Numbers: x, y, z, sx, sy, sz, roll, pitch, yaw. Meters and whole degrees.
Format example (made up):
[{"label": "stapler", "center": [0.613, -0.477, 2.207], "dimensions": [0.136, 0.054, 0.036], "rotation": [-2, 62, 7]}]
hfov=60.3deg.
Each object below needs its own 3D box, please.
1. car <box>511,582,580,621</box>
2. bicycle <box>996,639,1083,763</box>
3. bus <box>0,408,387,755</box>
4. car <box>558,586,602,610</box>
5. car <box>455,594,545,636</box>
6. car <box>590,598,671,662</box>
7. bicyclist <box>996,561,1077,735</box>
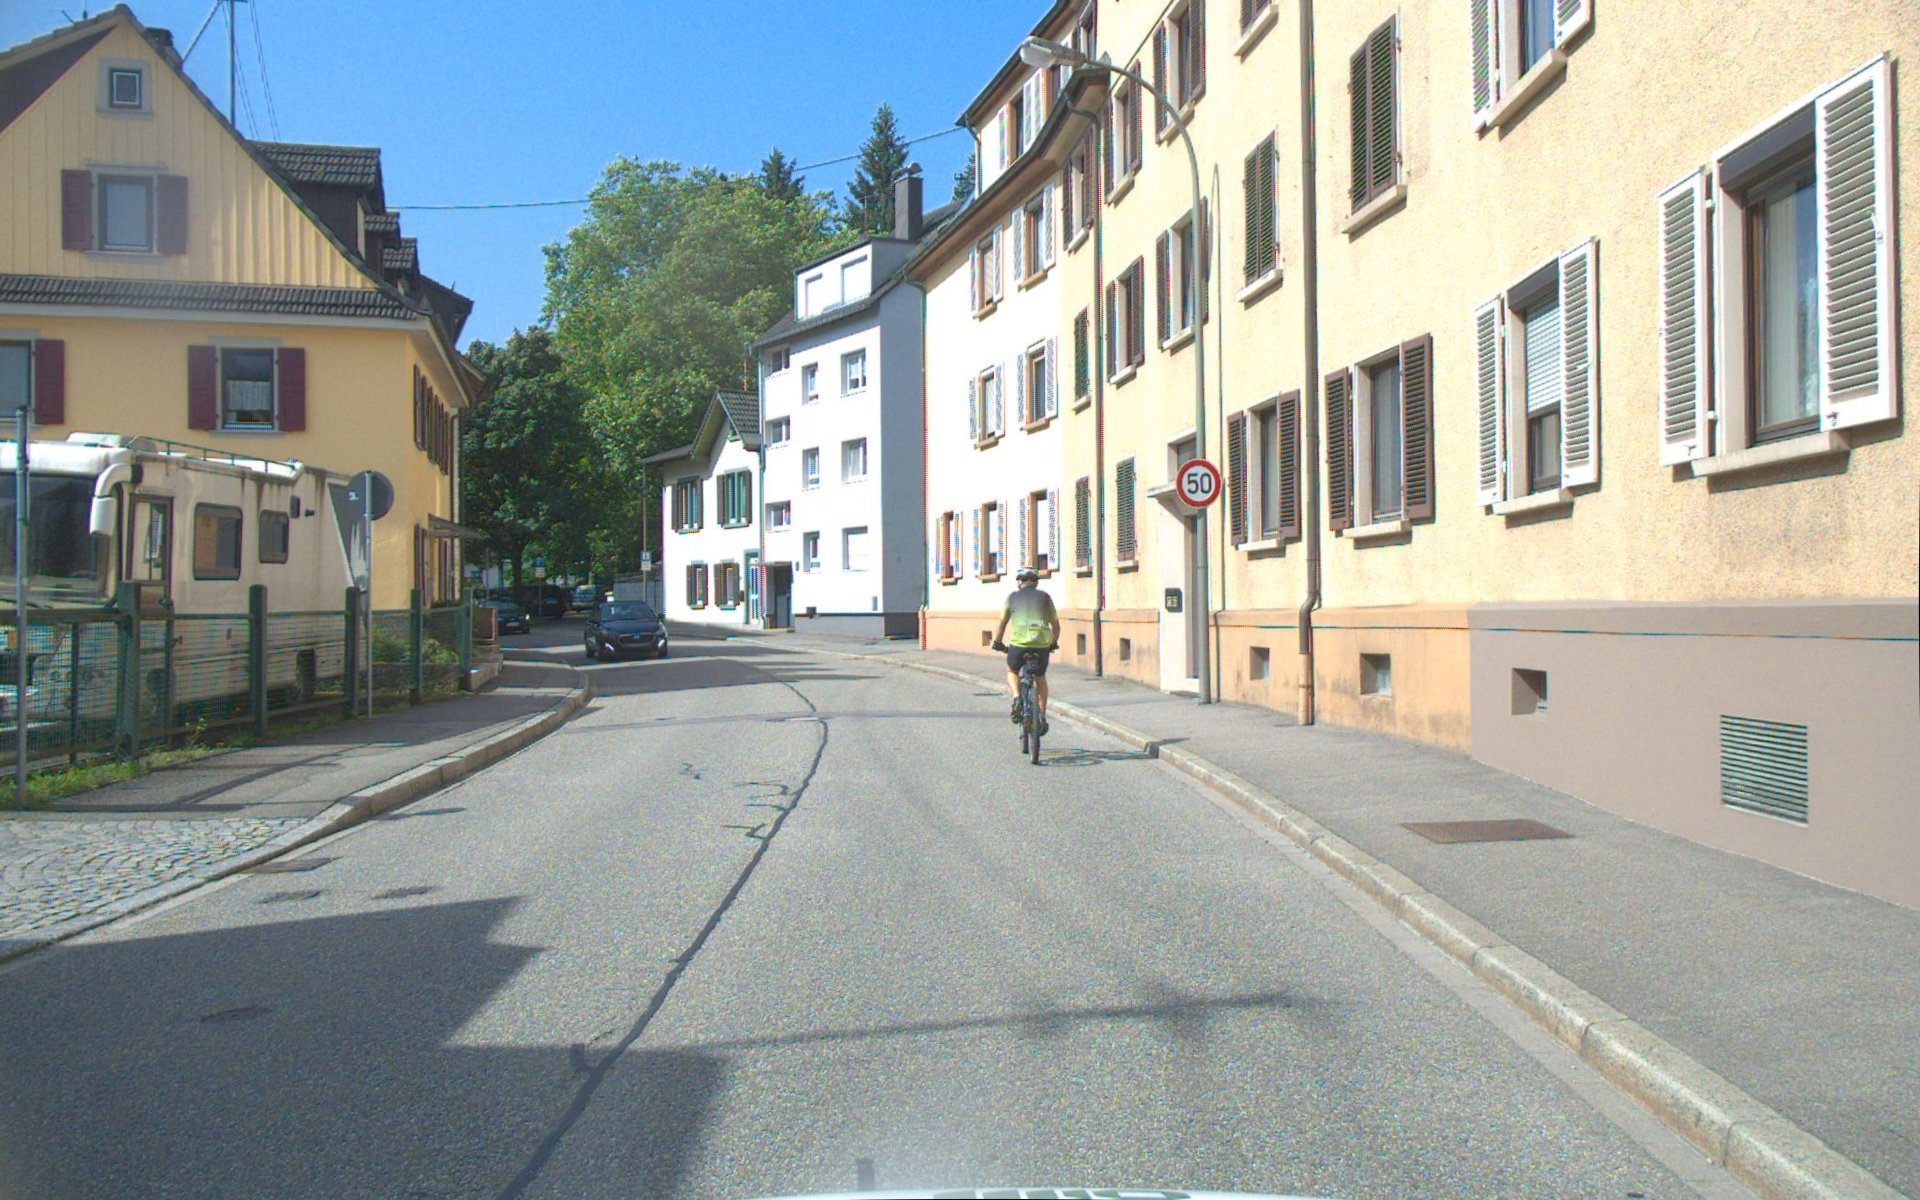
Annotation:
[{"label": "car", "center": [-20.862, 0.047, 83.083], "dimensions": [1.812, 1.822, 3.941], "rotation": [-2, 2, -41]}, {"label": "bicycle", "center": [0.723, 0.915, 15.405], "dimensions": [0.684, 1.053, 1.470], "rotation": [0, 0, -2]}, {"label": "bus", "center": [-9.727, -0.203, 20.191], "dimensions": [2.764, 3.284, 9.029], "rotation": [1, 0, -4]}, {"label": "car", "center": [-22.132, -0.120, 96.162], "dimensions": [1.564, 1.279, 3.822], "rotation": [-2, 1, -28]}, {"label": "car", "center": [-18.426, 0.611, 66.170], "dimensions": [1.651, 1.474, 4.191], "rotation": [-4, 1, -43]}, {"label": "car", "center": [-8.696, 0.746, 43.467], "dimensions": [1.719, 1.478, 4.011], "rotation": [-4, 1, -15]}, {"label": "bicyclist", "center": [0.702, 0.436, 15.383], "dimensions": [0.672, 1.558, 0.715], "rotation": [-1, 0, -2]}]
